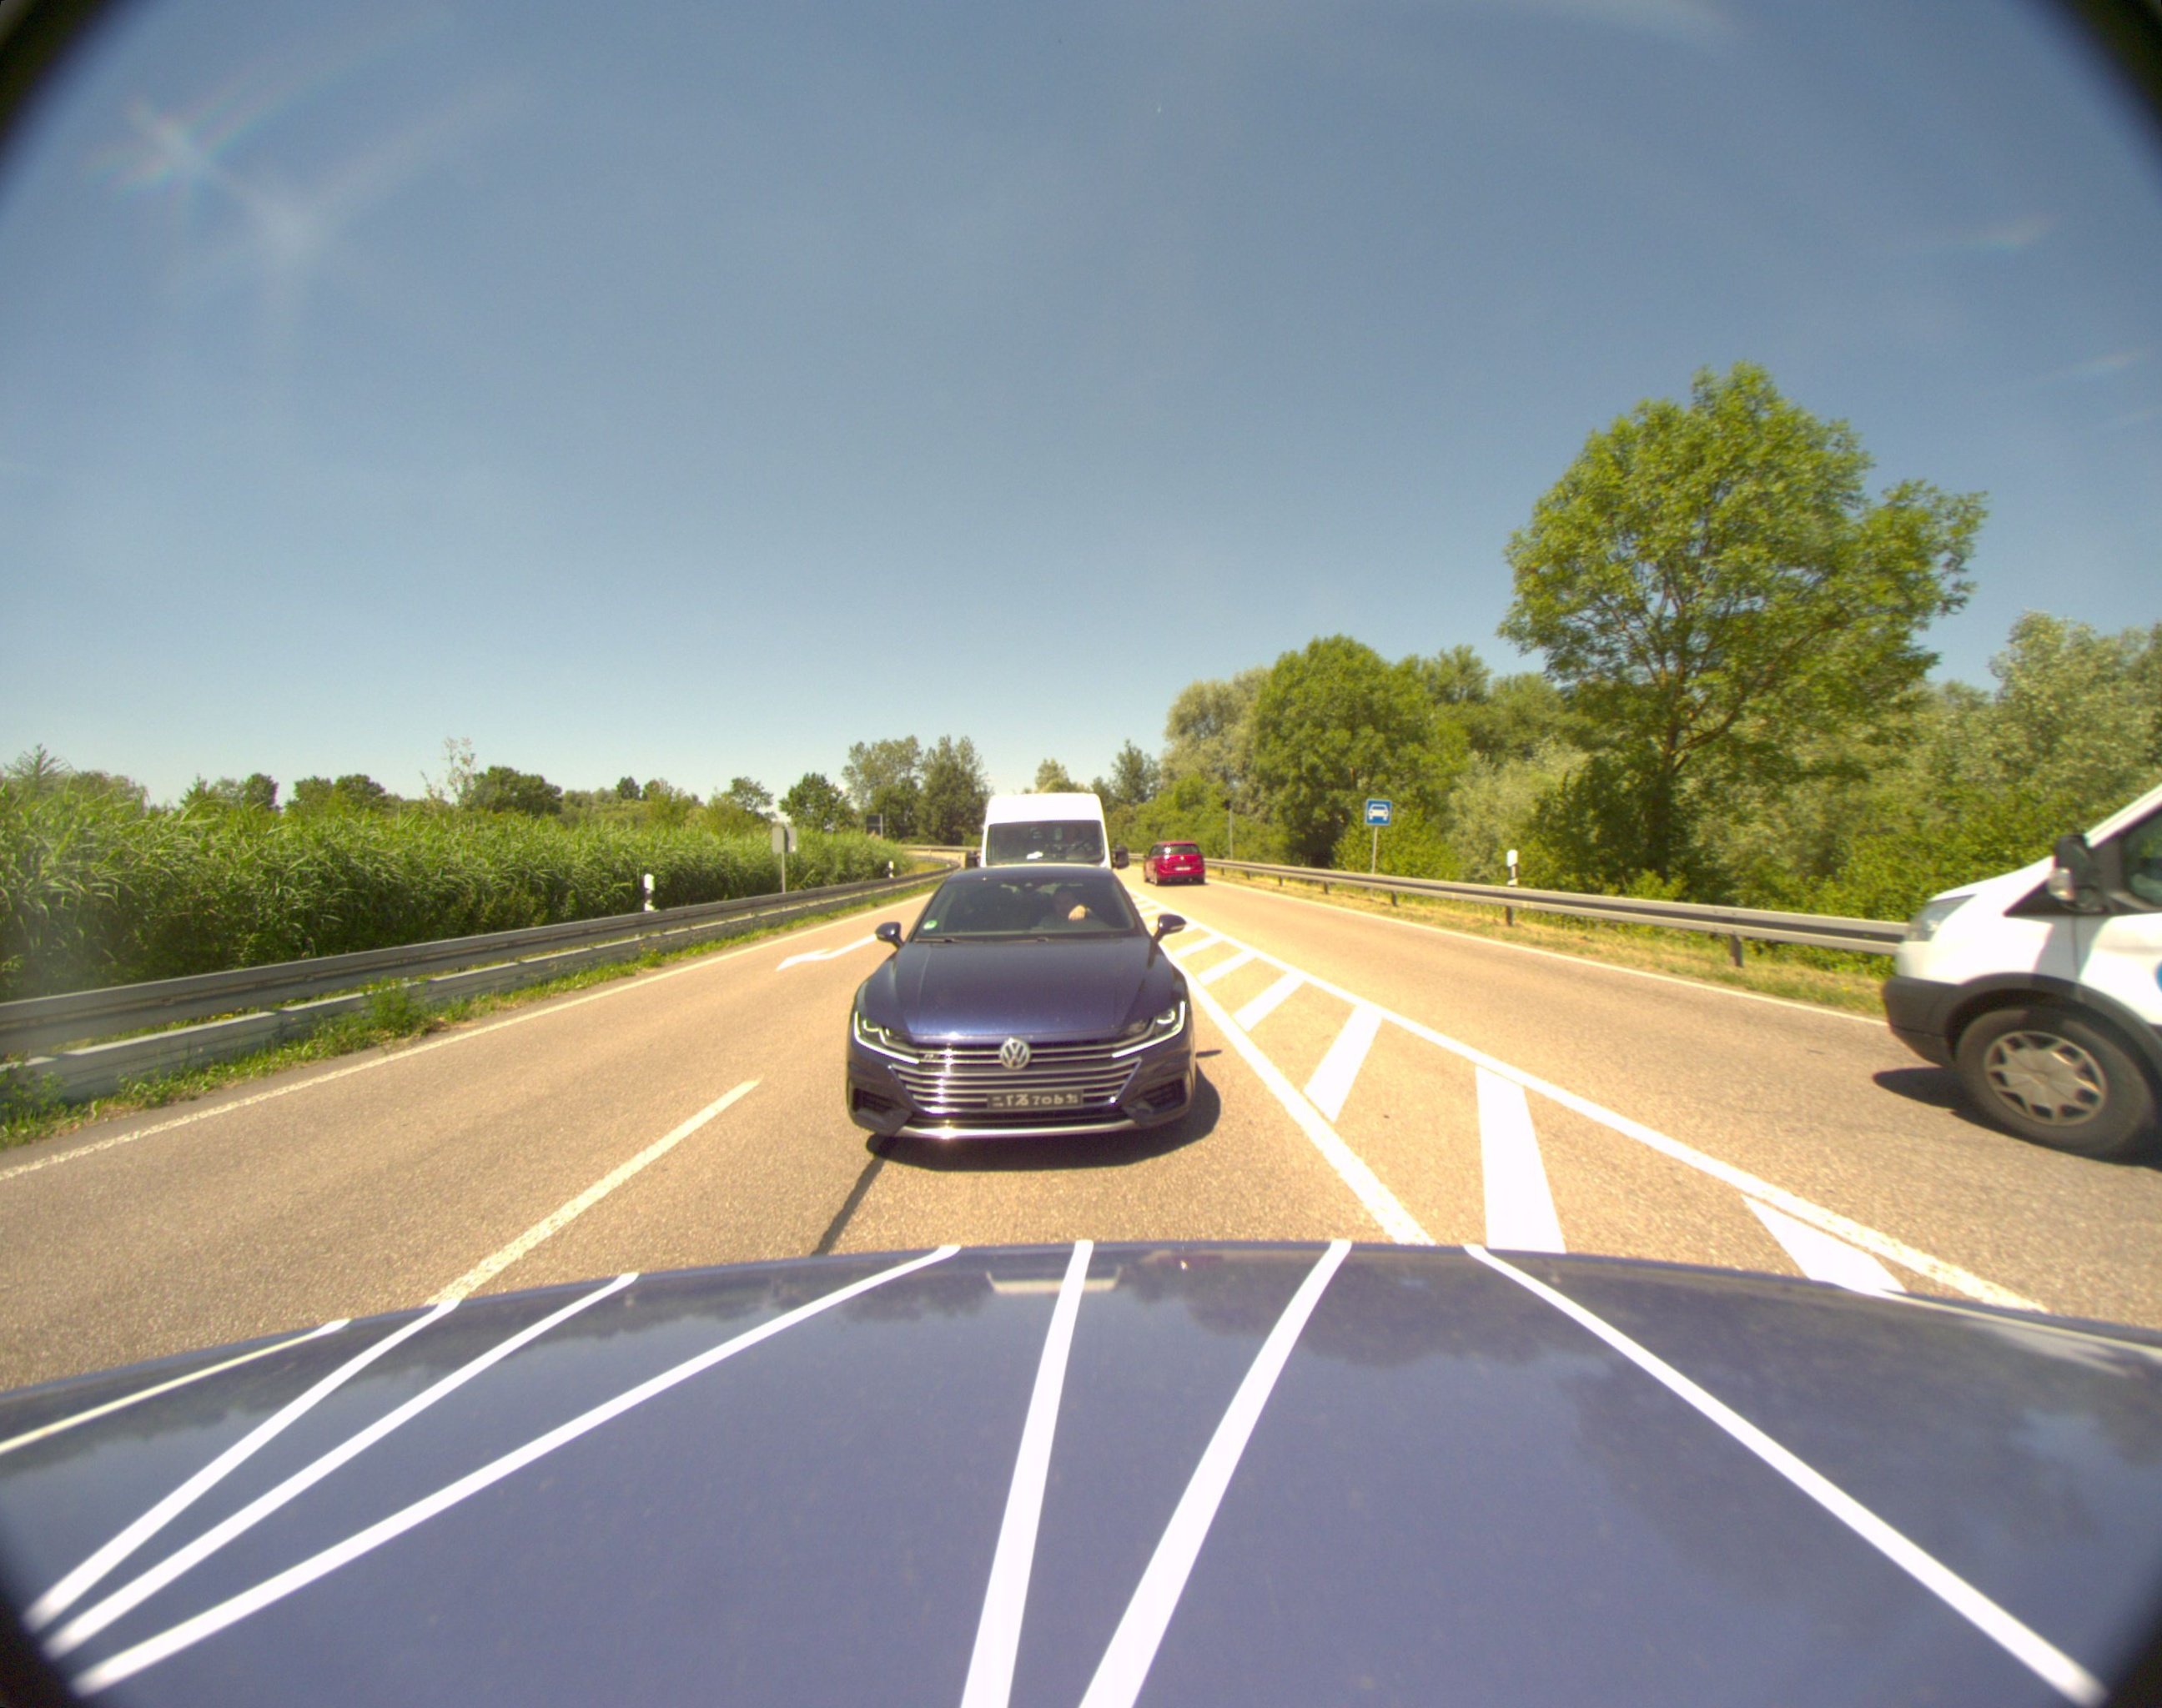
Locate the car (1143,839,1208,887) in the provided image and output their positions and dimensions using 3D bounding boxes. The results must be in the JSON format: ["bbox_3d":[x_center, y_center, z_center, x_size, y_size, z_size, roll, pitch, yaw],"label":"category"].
[{"bbox_3d":[3.515,0.296,28.998,1.741,1.676,4.207,0,1,-3],"label":"car"}]

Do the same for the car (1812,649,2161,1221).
[{"bbox_3d":[5.602,0.354,1.885,1.999,2.402,5.587,0,1,-3],"label":"car"}]

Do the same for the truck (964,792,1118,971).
[{"bbox_3d":[-0.719,0.341,13.214,2.011,2.365,5.909,-2,1,-4],"label":"truck"}]

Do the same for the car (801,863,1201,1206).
[{"bbox_3d":[-0.343,0.873,5.741,1.819,1.454,4.415,-2,1,1],"label":"car"}]
